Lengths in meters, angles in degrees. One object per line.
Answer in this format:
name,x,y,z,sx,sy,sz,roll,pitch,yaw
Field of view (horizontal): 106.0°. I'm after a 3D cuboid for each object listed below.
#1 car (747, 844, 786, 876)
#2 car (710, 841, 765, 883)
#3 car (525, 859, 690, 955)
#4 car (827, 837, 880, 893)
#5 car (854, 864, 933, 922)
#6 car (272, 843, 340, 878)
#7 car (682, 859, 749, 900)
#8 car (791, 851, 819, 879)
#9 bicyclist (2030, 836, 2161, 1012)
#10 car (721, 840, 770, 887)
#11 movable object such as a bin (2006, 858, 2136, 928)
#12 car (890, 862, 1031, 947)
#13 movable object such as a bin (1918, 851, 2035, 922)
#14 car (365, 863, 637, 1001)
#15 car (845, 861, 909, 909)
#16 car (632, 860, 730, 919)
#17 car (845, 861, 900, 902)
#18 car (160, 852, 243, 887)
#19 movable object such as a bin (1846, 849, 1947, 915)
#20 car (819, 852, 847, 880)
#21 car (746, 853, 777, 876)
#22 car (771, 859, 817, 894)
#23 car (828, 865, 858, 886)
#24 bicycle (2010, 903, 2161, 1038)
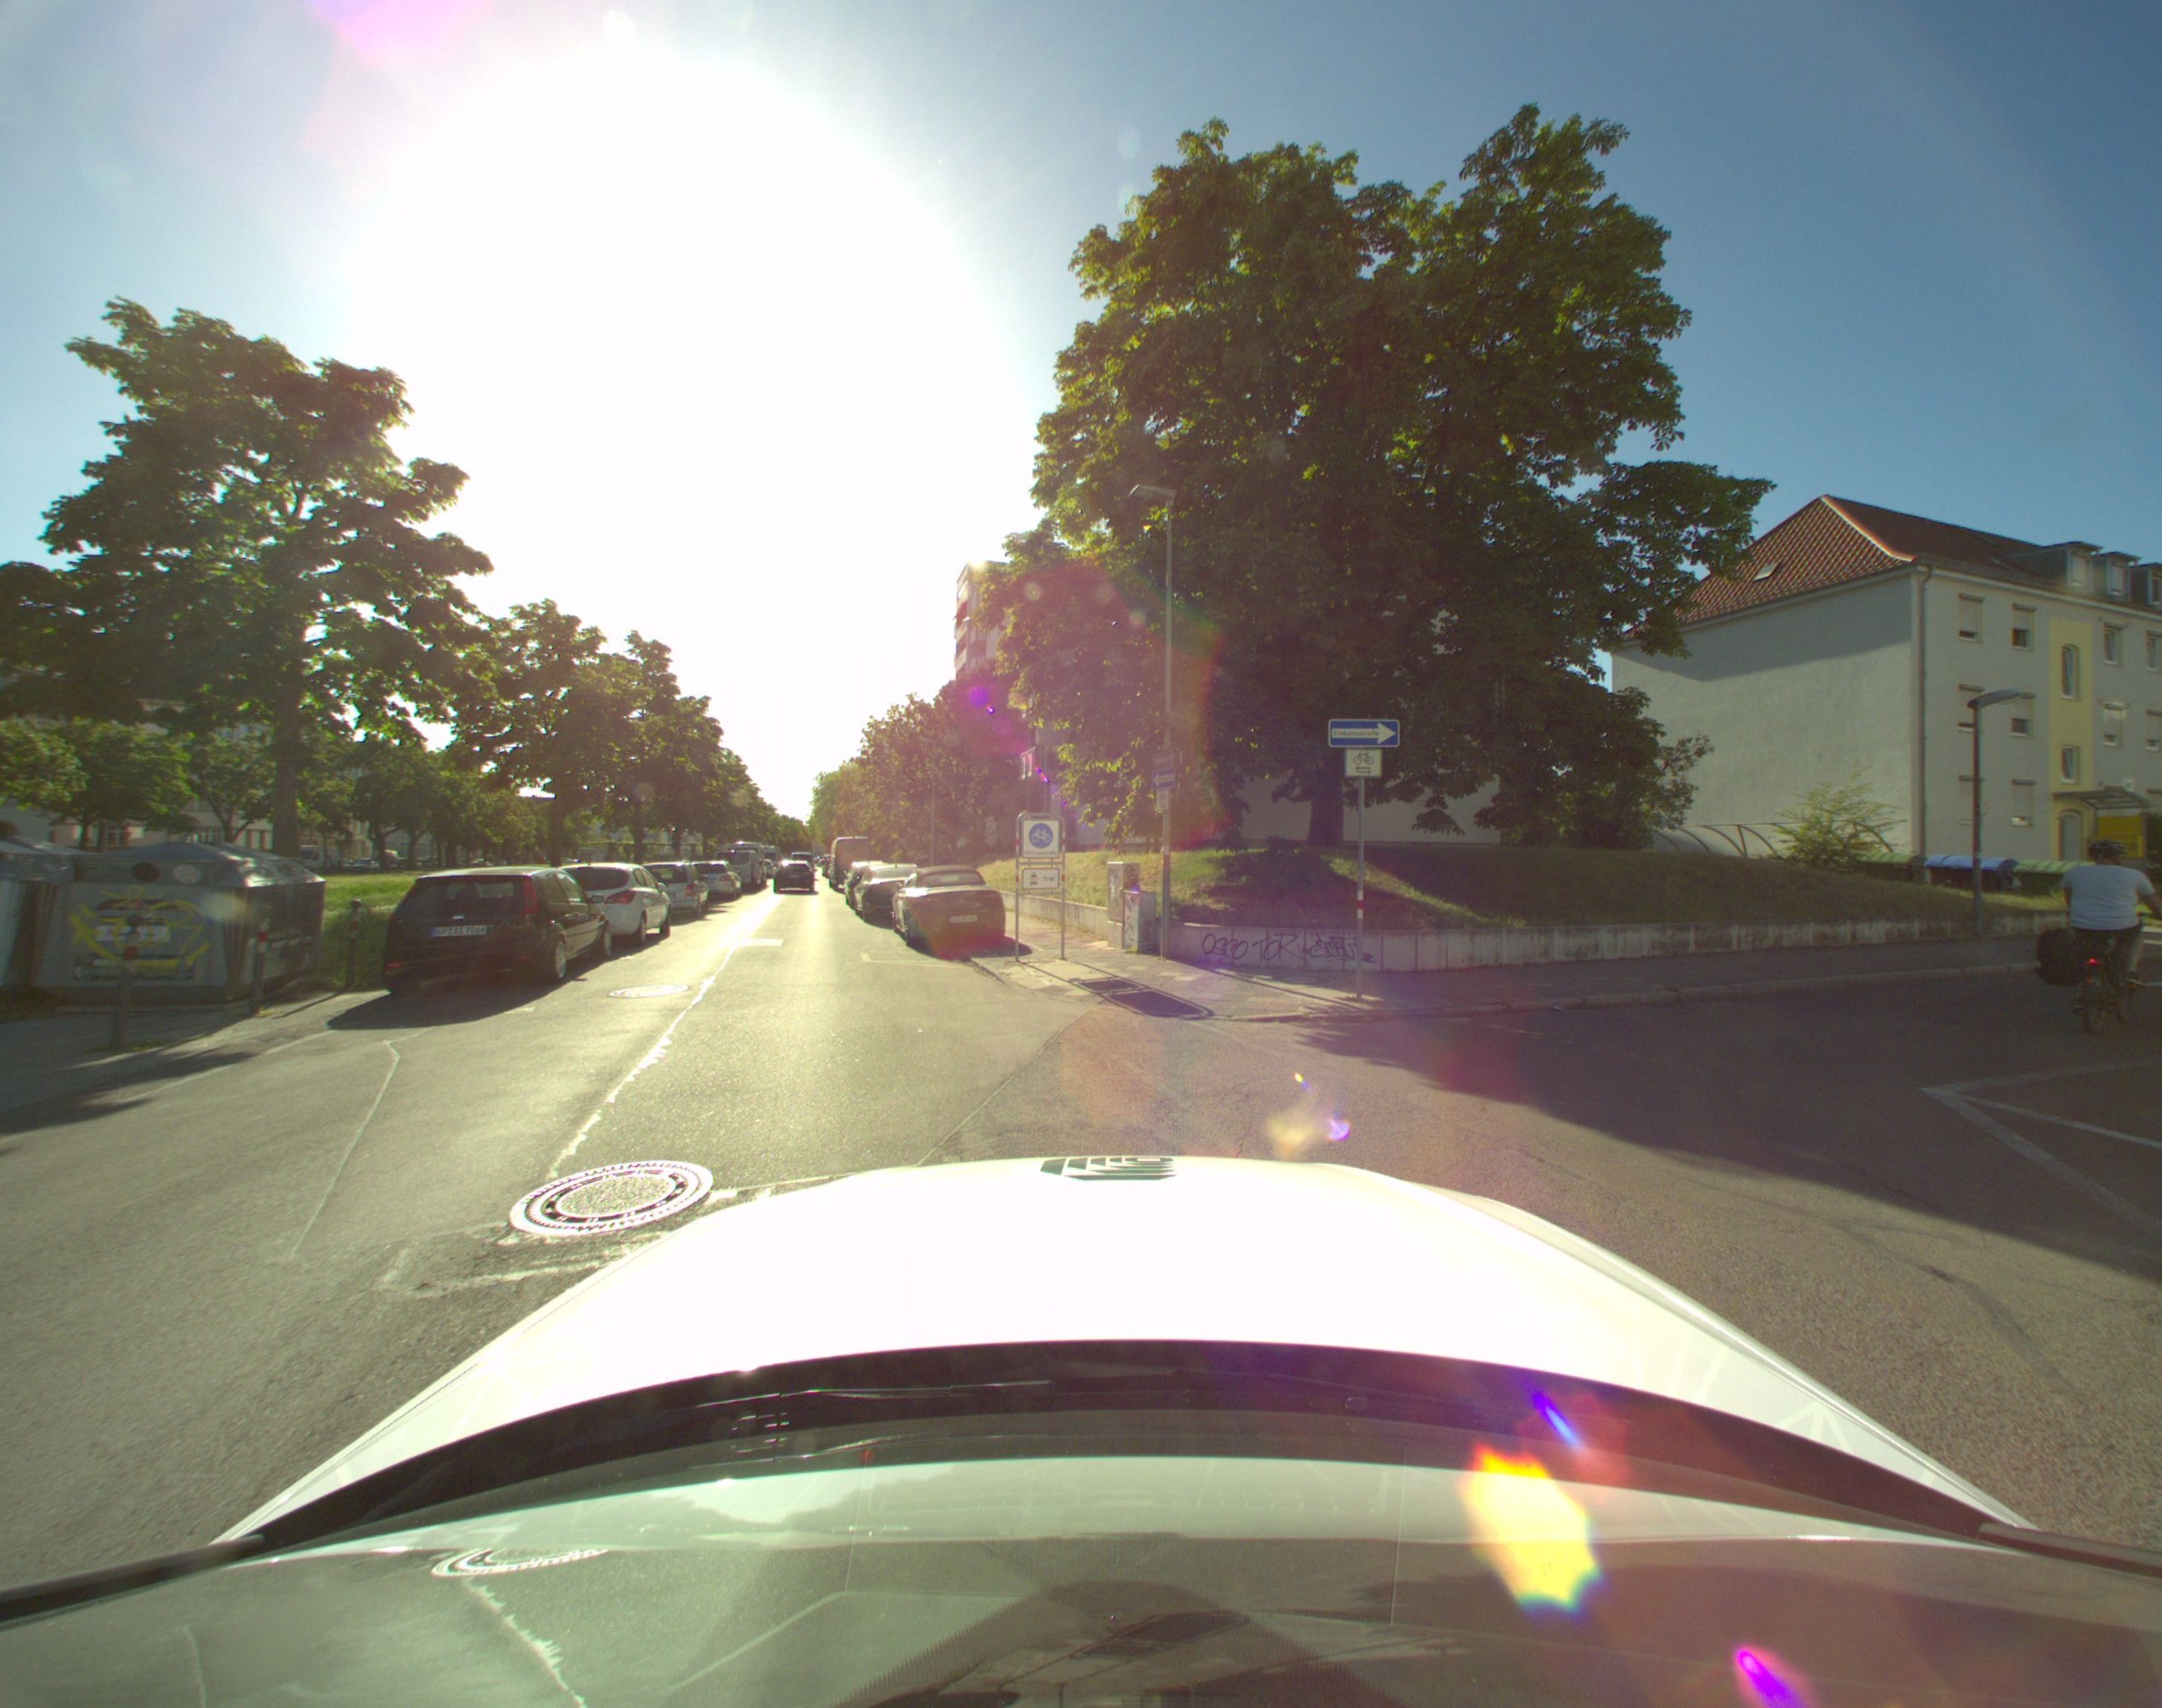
car,-26.942,0.507,69.908,2.623,2.645,6.079,0,0,-17
car,-16.756,0.399,39.919,2.104,1.943,4.101,0,0,-18
car,-8.617,0.883,15.184,1.781,1.495,3.852,-2,0,-17
car,-11.832,0.524,42.105,2.171,2.689,5.378,0,0,-21
car,-5.099,0.971,21.774,1.784,1.371,4.103,0,0,-17
car,-63.179,0.535,66.507,1.922,2.744,5.586,1,-1,-20
car,-14.226,0.954,31.886,1.837,1.500,4.103,0,0,-17
car,-20.970,0.804,61.993,1.899,1.991,3.987,-1,0,-17
bicyclist,9.833,0.637,7.831,0.791,1.596,0.691,1,-1,-21
car,-18.865,0.520,45.931,2.103,2.496,4.103,0,-1,-17
movable object such as a bin,21.756,0.819,17.930,1.264,1.478,1.487,0,0,-19
car,-2.582,0.889,16.375,2.130,1.337,4.480,-2,0,-17
movable object such as a bin,21.199,0.740,19.316,1.263,1.622,1.494,0,0,-19
car,-7.384,0.871,10.859,1.752,1.425,3.893,-2,-1,-17
car,-7.029,1.002,27.808,1.785,1.487,4.005,0,0,-19
car,-11.000,0.910,22.697,1.784,1.461,4.103,0,0,-17
car,-8.414,1.054,32.646,1.993,1.487,4.103,0,0,-17
car,-59.086,1.032,54.820,1.700,2.214,4.974,1,-1,-20
movable object such as a bin,20.699,0.686,20.706,1.190,1.613,1.454,0,0,-19
car,-21.222,1.029,69.675,2.169,2.292,5.232,0,0,-18
car,-25.275,0.792,64.529,2.015,1.785,4.103,0,0,-17
car,-13.389,1.017,38.167,1.783,1.531,3.977,2,-1,-17
car,-17.468,1.538,59.751,1.993,1.487,4.103,0,0,-17
bicycle,9.889,1.074,7.848,1.766,1.127,0.658,0,0,-21
